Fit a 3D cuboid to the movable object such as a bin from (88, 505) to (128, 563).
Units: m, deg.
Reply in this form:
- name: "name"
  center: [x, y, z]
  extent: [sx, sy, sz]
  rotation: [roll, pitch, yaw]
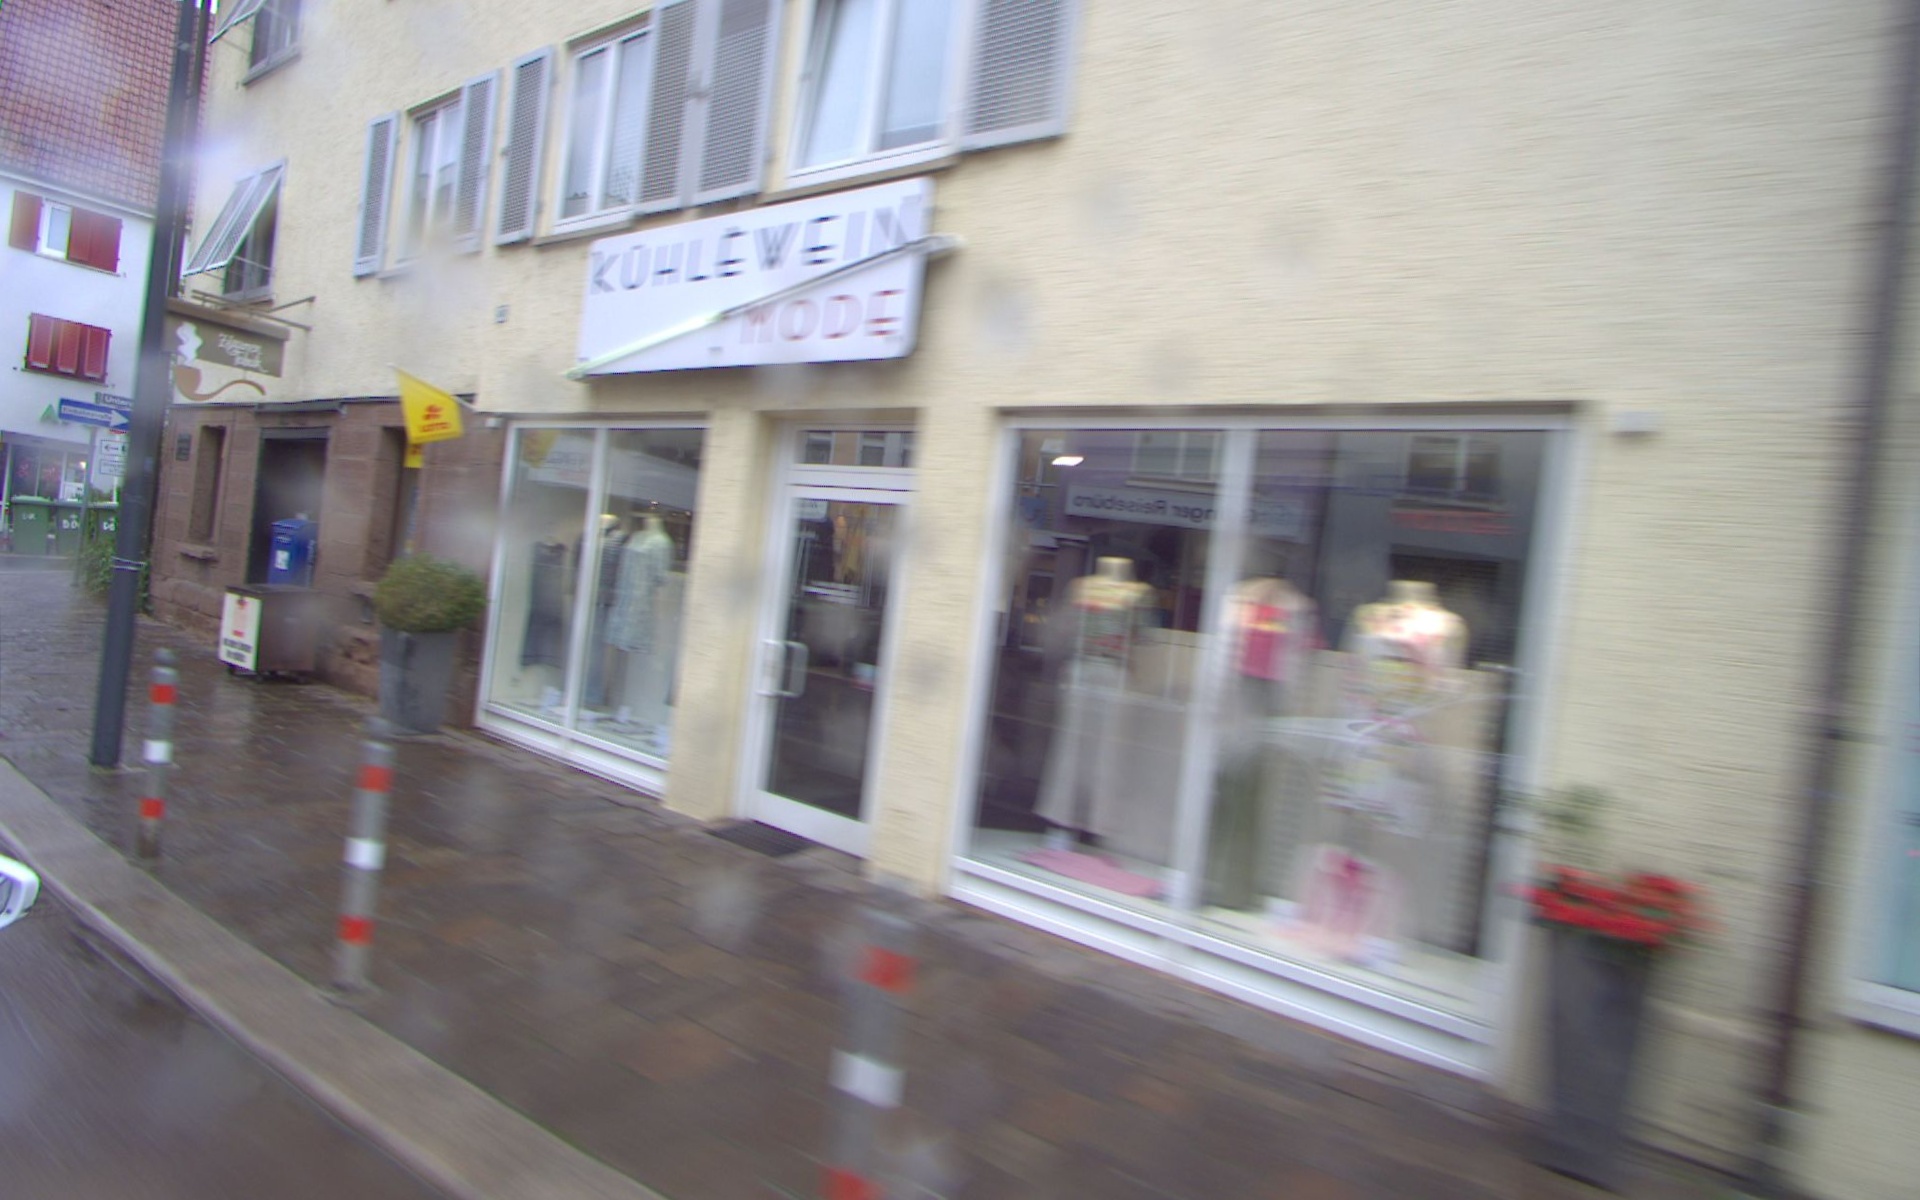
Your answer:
- name: "movable object such as a bin"
  center: [-16.635, -1.287, 19.642]
  extent: [0.541, 1.070, 0.499]
  rotation: [5, 1, 44]

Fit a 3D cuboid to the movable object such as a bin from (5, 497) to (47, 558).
- name: "movable object such as a bin"
  center: [-17.450, -1.346, 18.801]
  extent: [0.541, 1.070, 0.499]
  rotation: [5, 1, 44]

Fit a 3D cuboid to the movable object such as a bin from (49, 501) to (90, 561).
- name: "movable object such as a bin"
  center: [-17.034, -1.315, 19.238]
  extent: [0.541, 1.070, 0.499]
  rotation: [5, 1, 44]

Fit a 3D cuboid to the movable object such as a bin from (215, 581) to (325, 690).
- name: "movable object such as a bin"
  center: [-6.209, 0.312, 9.046]
  extent: [0.896, 0.847, 0.545]
  rotation: [8, 3, 39]
